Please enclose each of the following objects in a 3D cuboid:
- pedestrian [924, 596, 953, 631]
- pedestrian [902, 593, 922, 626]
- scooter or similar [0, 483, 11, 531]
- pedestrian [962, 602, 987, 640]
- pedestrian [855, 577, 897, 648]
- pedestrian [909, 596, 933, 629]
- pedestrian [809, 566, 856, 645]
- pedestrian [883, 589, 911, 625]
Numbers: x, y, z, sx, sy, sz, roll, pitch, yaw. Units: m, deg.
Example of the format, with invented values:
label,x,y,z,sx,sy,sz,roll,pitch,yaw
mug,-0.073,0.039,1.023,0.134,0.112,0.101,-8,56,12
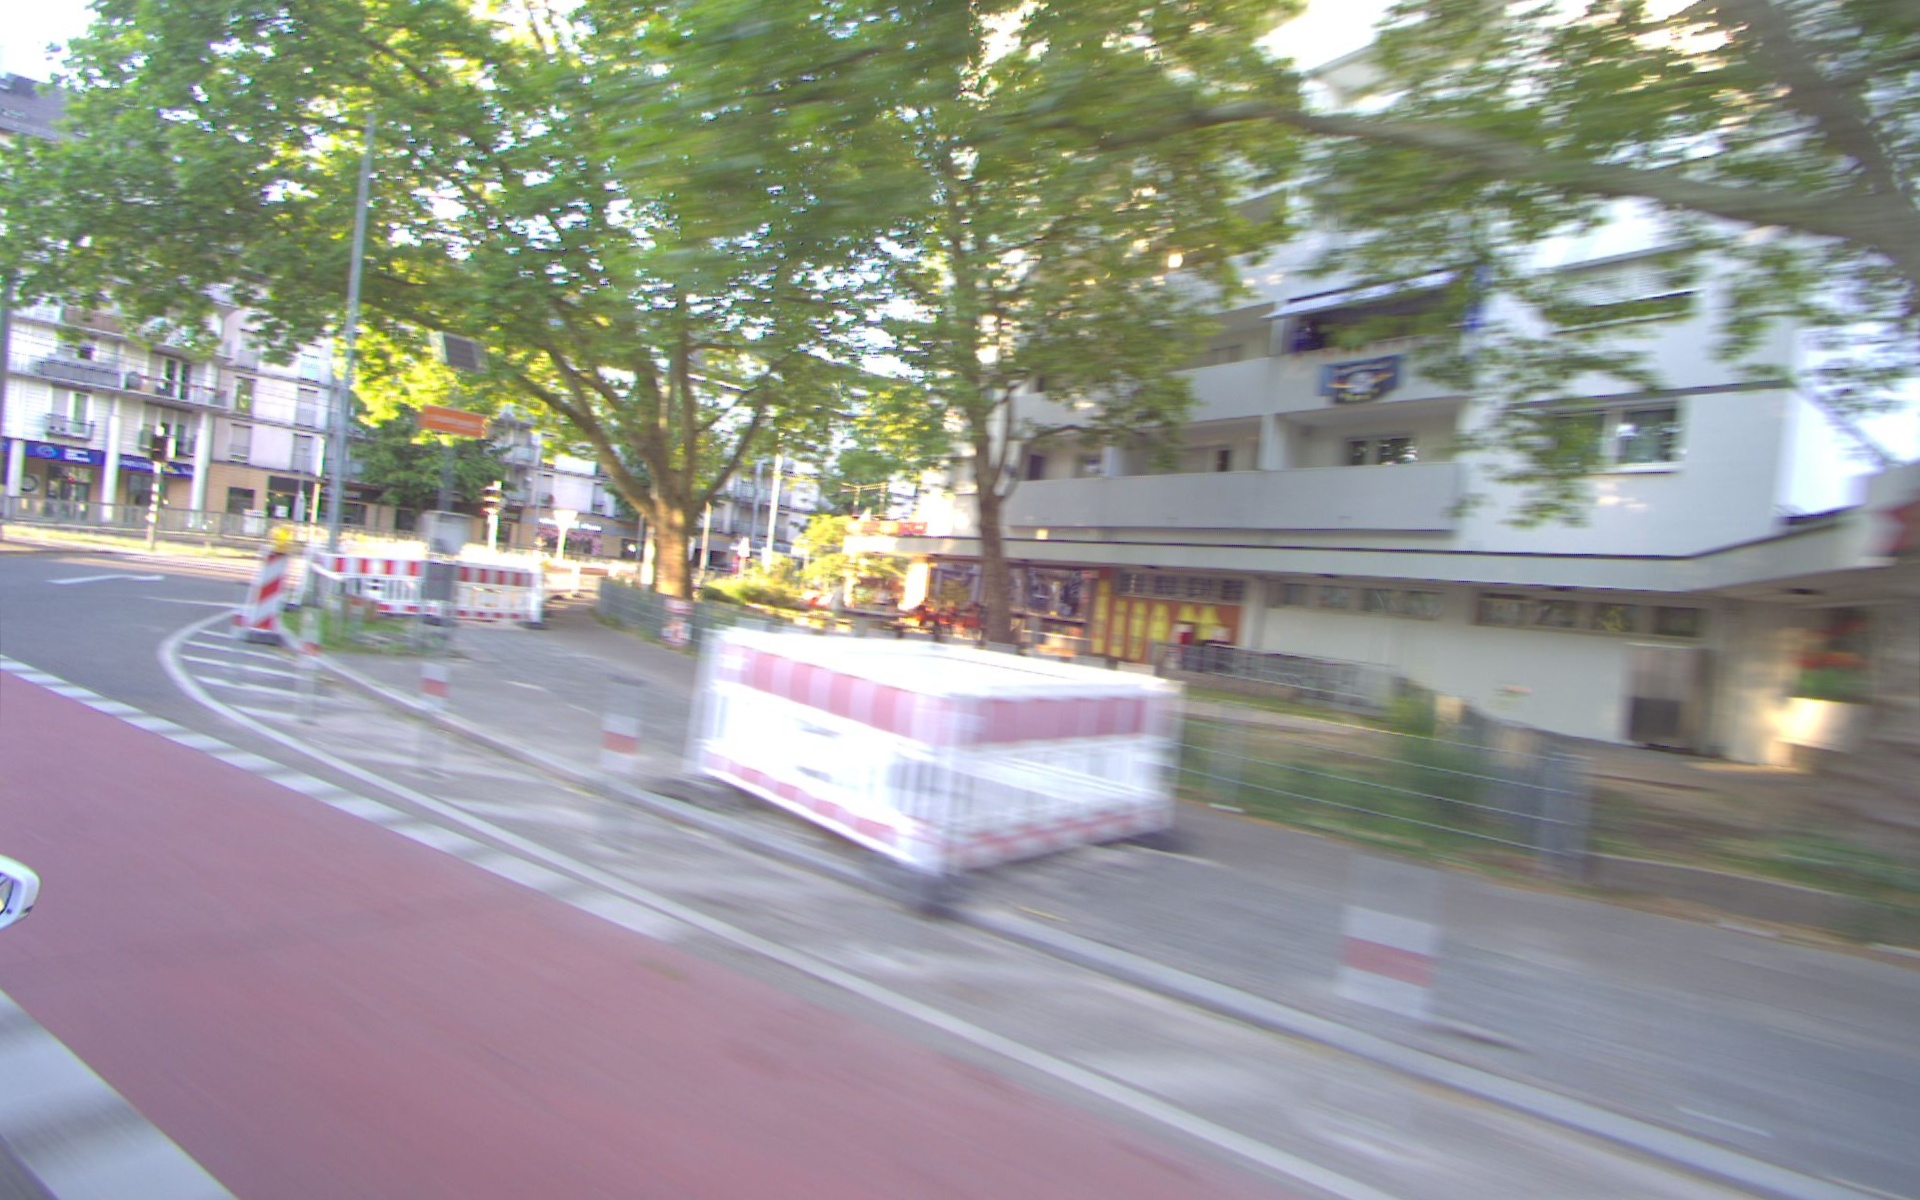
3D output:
label,x,y,z,sx,sy,sz,roll,pitch,yaw
pedestrian,-0.769,0.471,35.474,0.665,1.150,0.619,6,1,-40
pedestrian,-1.761,0.341,36.867,0.596,1.143,0.625,7,1,-1
scooter or similar,-26.220,-2.570,26.708,1.366,1.266,0.545,7,1,-7
pedestrian,0.495,0.707,33.461,0.538,1.193,0.558,7,1,20
pedestrian,-2.237,0.326,26.746,0.710,1.780,0.657,6,1,-33
pedestrian,-1.353,0.432,34.811,0.575,1.041,0.653,7,1,-19
pedestrian,-3.000,0.135,23.761,0.704,1.780,0.662,7,1,17
pedestrian,-2.194,0.245,35.147,0.626,1.126,0.570,6,1,-40
